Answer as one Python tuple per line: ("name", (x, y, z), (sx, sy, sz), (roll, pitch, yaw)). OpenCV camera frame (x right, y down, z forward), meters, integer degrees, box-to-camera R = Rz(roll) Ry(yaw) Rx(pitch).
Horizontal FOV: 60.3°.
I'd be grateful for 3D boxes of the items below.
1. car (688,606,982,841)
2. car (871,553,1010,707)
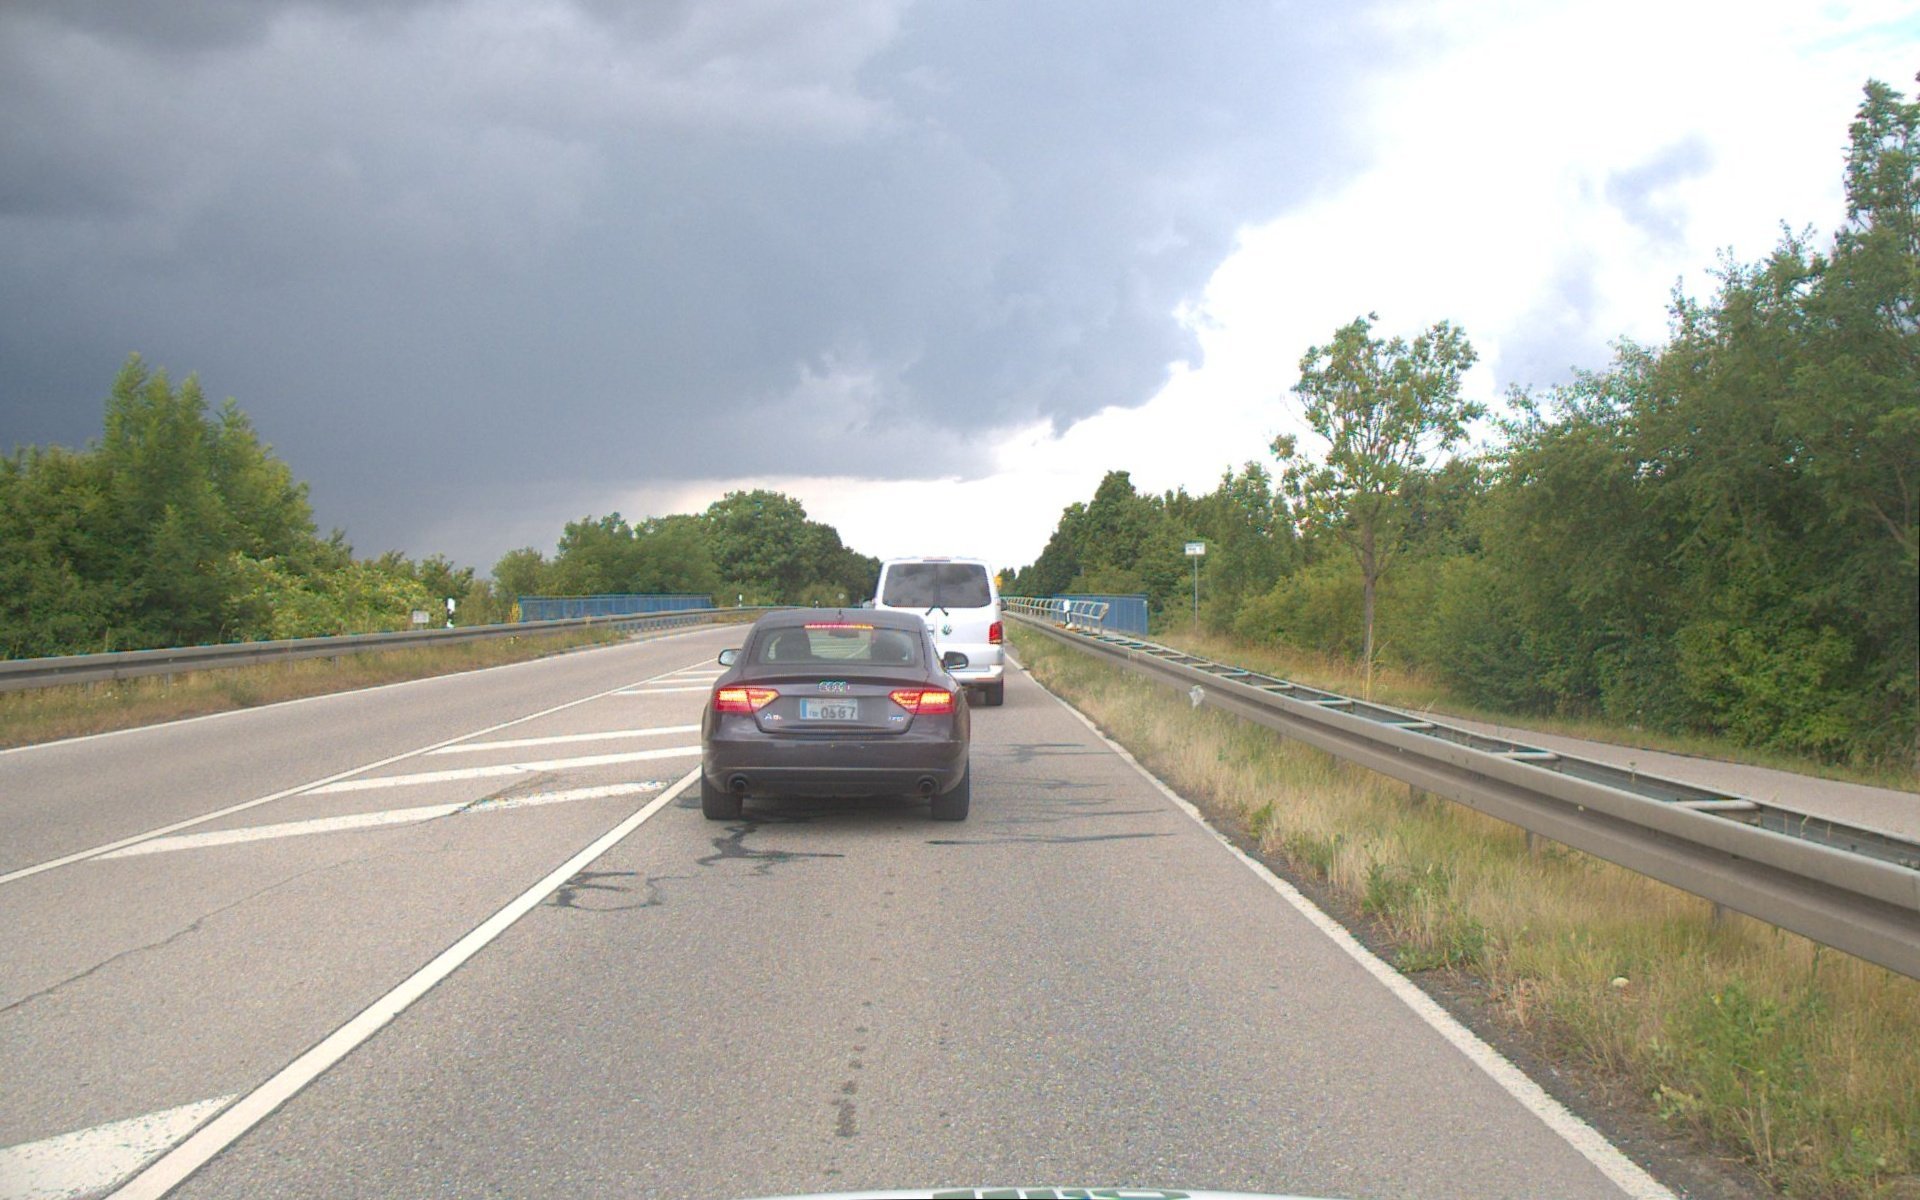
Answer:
("car", (-0.790, 0.759, 12.141), (1.784, 1.405, 4.071), (0, 0, -1))
("car", (-0.279, 0.387, 23.394), (1.791, 1.969, 3.999), (0, 0, -1))
